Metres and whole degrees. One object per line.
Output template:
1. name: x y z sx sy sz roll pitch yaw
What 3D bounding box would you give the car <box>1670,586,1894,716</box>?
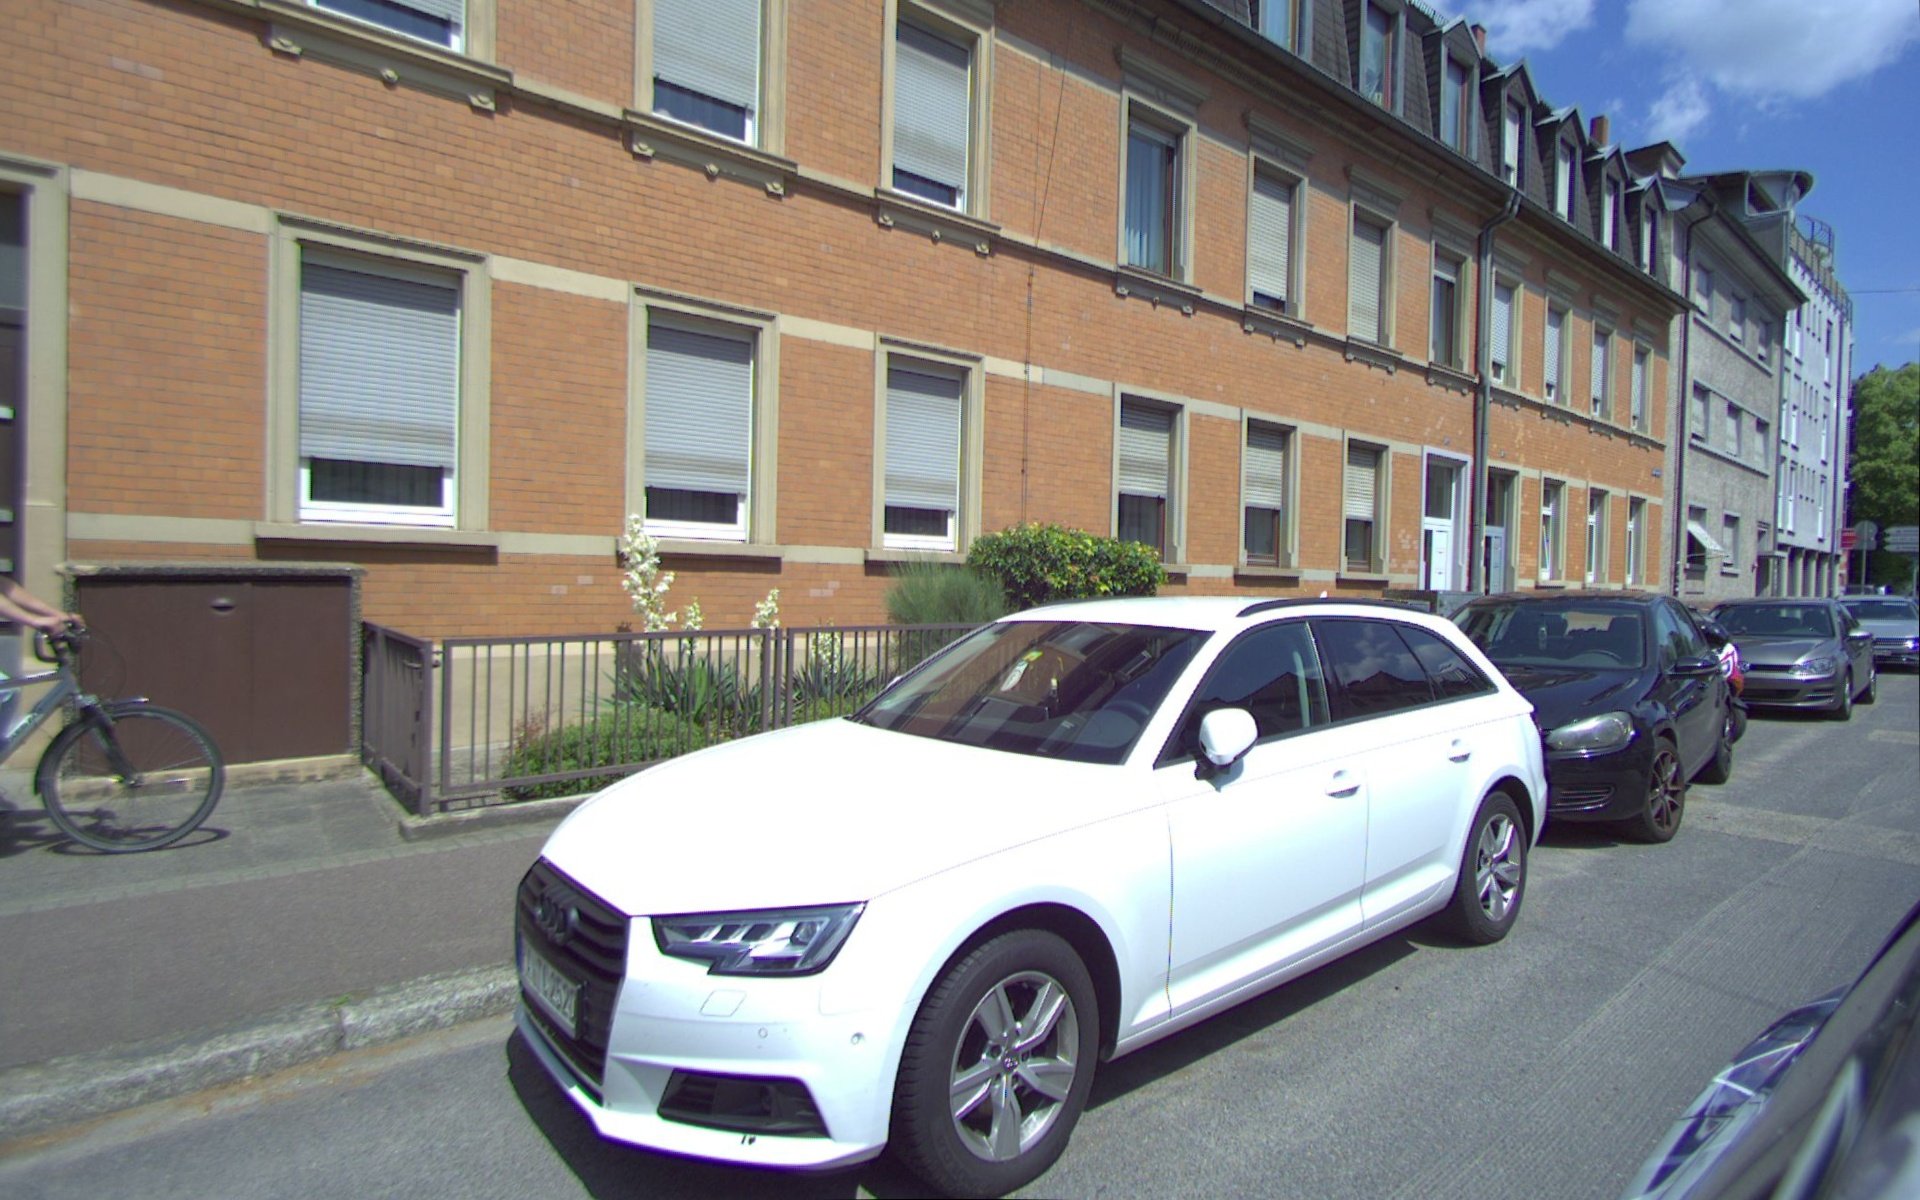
1. car: 10.726 0.535 13.109 4.096 1.398 1.703 -1 1 -43

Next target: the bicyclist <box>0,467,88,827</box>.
1. bicyclist: -4.237 0.187 4.303 0.776 1.487 0.534 0 2 -39

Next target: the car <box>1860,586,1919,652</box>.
1. car: 22.255 0.400 23.601 3.983 1.438 1.652 -1 2 -45

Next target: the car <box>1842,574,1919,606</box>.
1. car: 68.410 -0.725 74.809 2.070 2.305 4.608 0 0 -42

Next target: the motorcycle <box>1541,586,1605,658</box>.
1. motorcycle: 11.022 0.370 18.182 1.338 1.240 0.597 -1 2 -41

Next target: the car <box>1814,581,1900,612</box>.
1. car: 53.050 -0.226 59.901 3.763 1.688 1.638 2 2 43

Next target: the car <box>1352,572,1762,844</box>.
1. car: 4.625 0.525 7.493 1.648 1.432 4.430 1 1 44

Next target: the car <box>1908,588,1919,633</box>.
1. car: 32.772 0.317 33.642 4.075 1.473 1.678 -1 0 -44

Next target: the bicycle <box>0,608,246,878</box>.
1. bicycle: -4.209 0.597 4.332 1.849 1.079 0.594 0 2 -40

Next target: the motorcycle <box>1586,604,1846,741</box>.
1. motorcycle: 7.565 0.669 10.300 1.091 1.240 1.997 0 0 -1

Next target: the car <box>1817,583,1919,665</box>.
1. car: 18.504 0.402 20.317 1.852 1.481 4.482 1 1 42

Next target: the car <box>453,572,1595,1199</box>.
1. car: 0.682 0.639 3.953 4.508 1.432 1.720 -1 2 -40

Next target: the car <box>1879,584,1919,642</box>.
1. car: 26.550 0.320 27.608 4.362 1.491 1.714 0 2 -42

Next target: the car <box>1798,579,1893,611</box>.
1. car: 50.977 -0.330 58.310 1.983 1.772 3.991 -1 1 -43
